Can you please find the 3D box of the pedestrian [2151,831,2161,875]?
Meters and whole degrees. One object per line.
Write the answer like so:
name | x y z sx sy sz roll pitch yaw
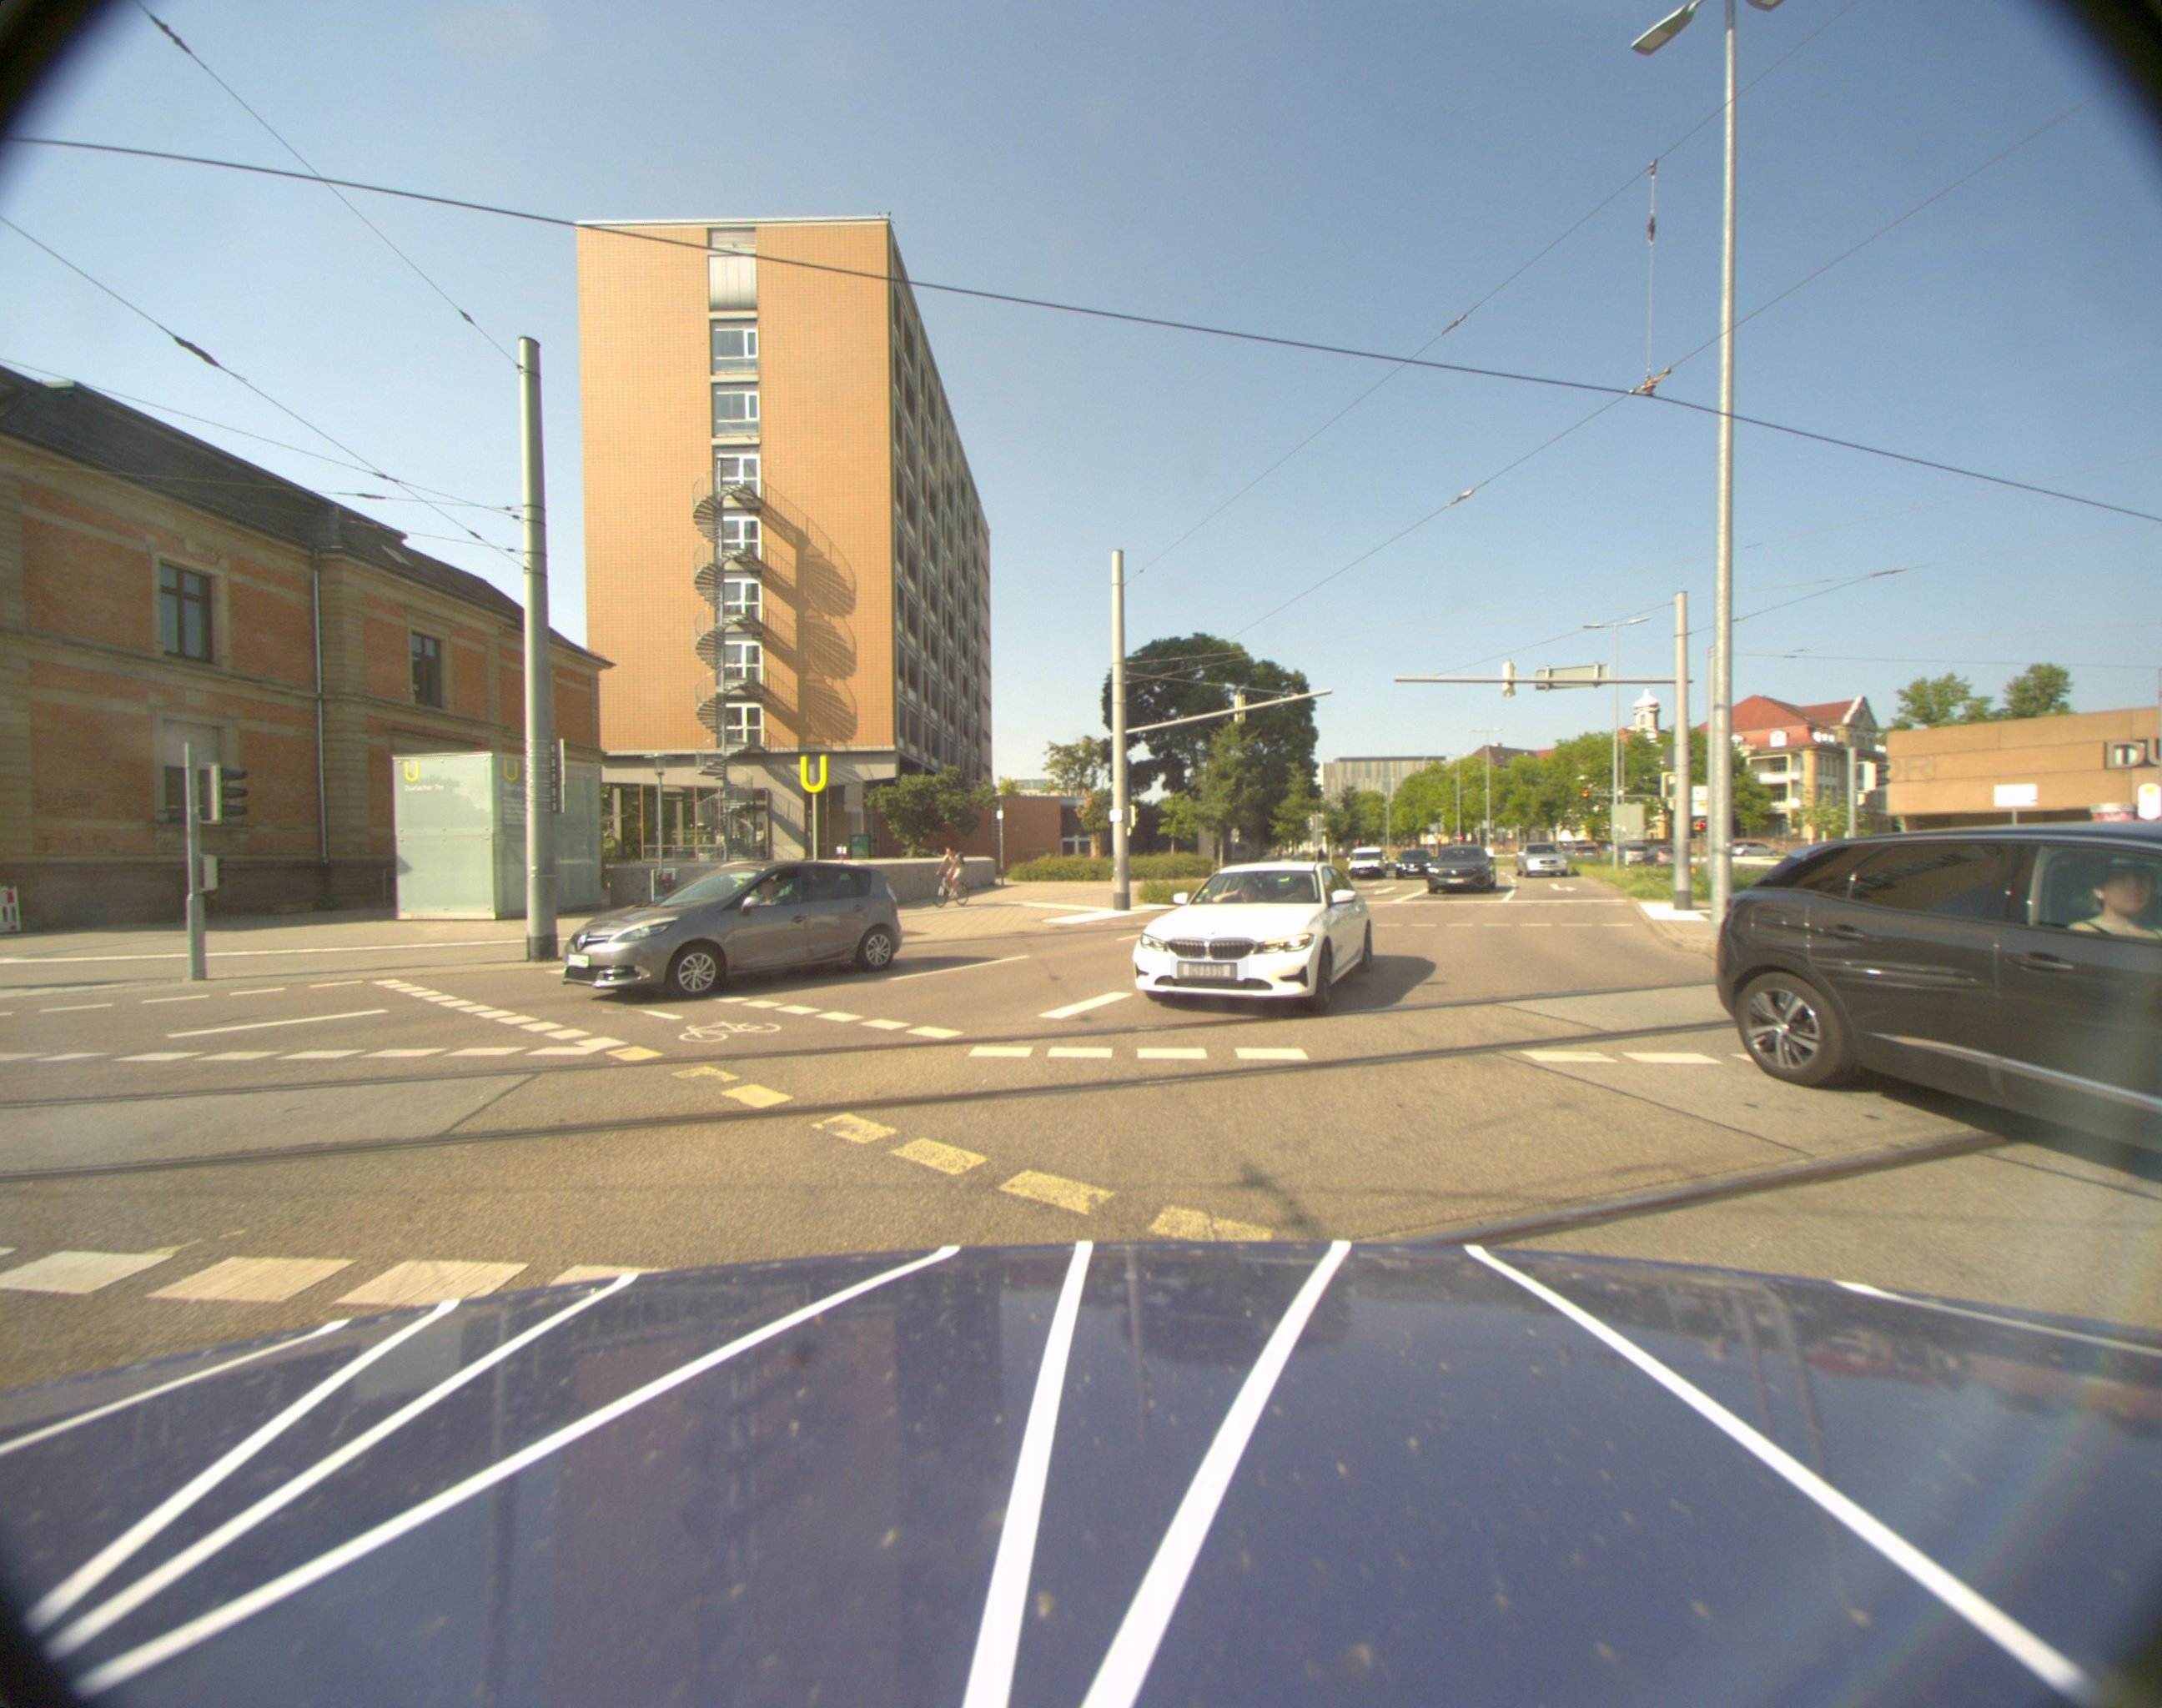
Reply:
pedestrian | 43.731 -0.043 30.768 0.560 1.759 0.402 -1 1 -30

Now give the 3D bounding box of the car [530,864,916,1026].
car | -4.454 0.989 10.132 1.810 1.614 4.298 -2 -1 35

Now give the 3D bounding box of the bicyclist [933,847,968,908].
bicyclist | -4.003 0.706 23.357 0.780 1.851 0.712 0 1 42

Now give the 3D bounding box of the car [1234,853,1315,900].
car | 7.149 0.780 27.866 1.739 1.572 3.984 -1 0 32

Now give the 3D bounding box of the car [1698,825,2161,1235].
car | 5.248 0.683 3.148 1.998 1.611 4.358 0 0 3

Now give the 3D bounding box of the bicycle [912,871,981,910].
bicycle | -4.079 1.103 23.233 0.527 1.089 2.192 0 0 43

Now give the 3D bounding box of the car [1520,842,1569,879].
car | 23.246 0.313 38.208 1.947 1.697 4.298 -2 -1 30

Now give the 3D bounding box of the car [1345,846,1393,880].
car | 17.048 0.511 44.817 1.790 1.875 4.298 -2 -1 32

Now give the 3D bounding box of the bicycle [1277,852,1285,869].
bicycle | 14.381 0.454 54.692 0.400 1.187 1.775 0 0 19

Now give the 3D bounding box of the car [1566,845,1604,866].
car | 36.674 0.103 55.347 1.490 1.442 3.529 0 0 20

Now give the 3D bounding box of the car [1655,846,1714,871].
car | 38.284 0.267 48.310 1.778 1.499 4.006 0 0 20

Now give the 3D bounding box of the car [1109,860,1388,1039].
car | 2.239 0.812 8.782 1.810 1.419 4.783 0 0 30

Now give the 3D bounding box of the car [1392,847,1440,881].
car | 18.517 0.534 41.876 1.764 1.697 4.298 -2 -1 32

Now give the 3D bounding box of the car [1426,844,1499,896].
car | 13.885 0.550 27.555 1.921 1.697 4.298 -3 -1 32
